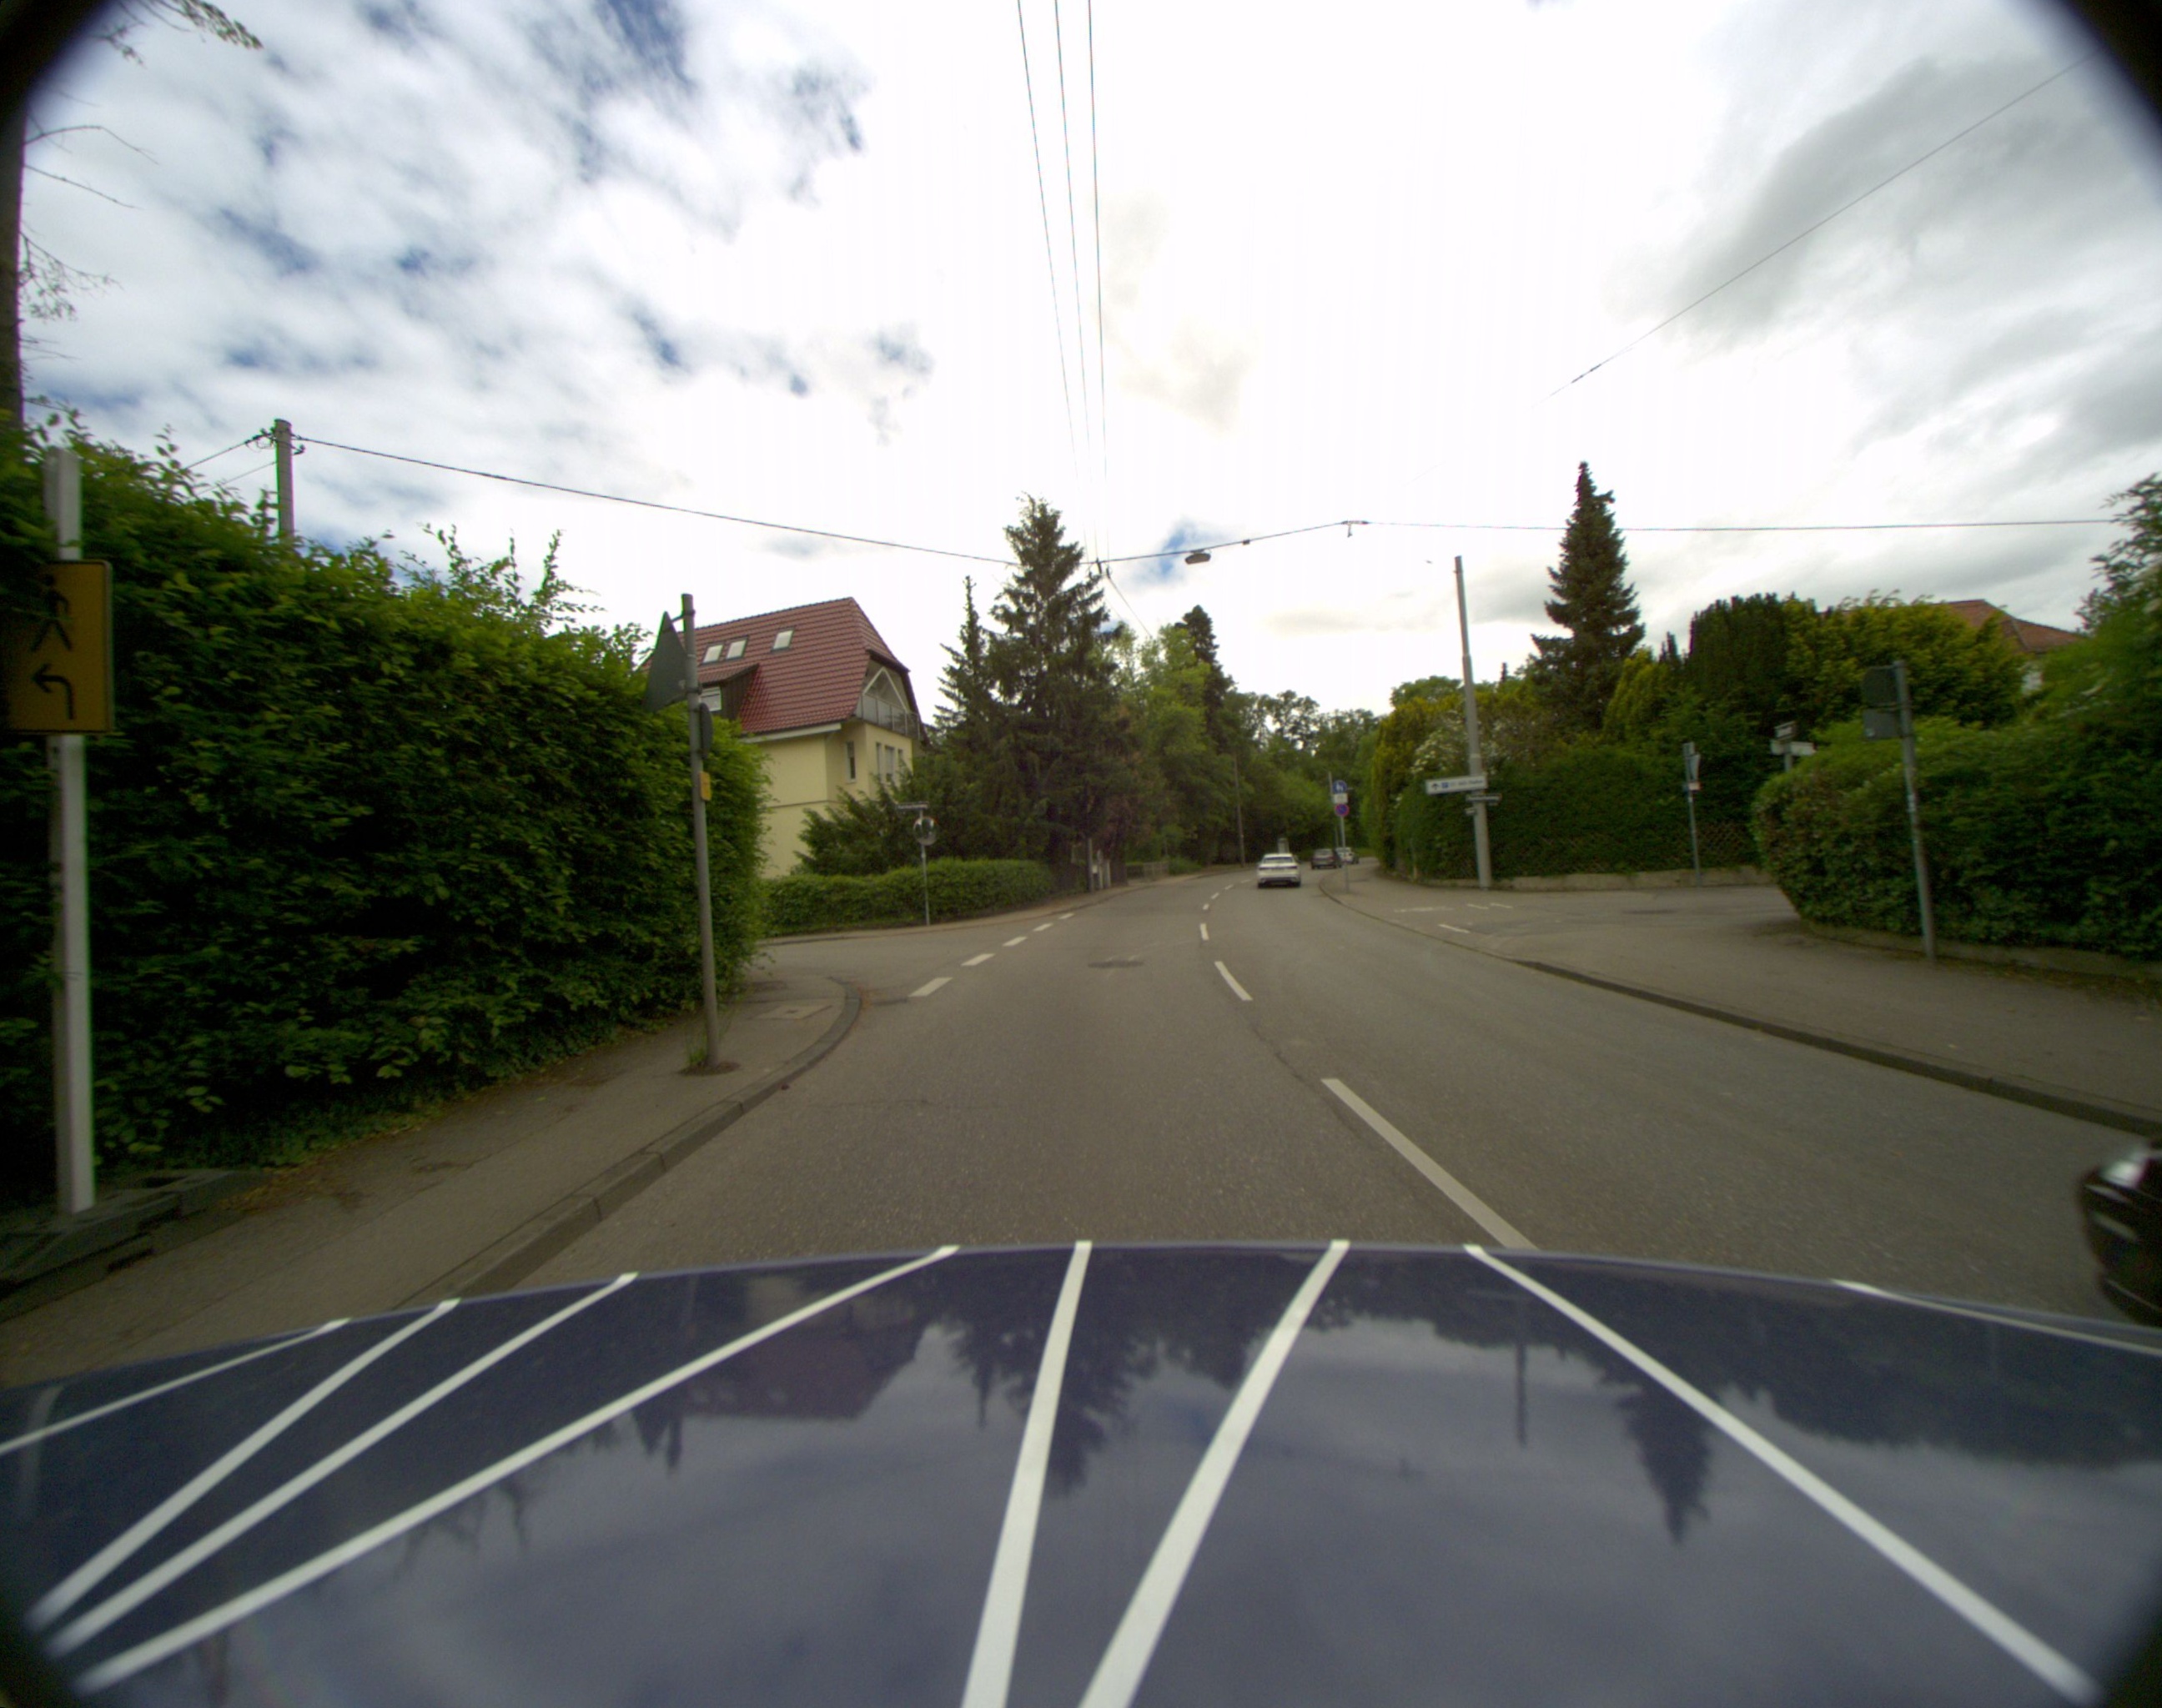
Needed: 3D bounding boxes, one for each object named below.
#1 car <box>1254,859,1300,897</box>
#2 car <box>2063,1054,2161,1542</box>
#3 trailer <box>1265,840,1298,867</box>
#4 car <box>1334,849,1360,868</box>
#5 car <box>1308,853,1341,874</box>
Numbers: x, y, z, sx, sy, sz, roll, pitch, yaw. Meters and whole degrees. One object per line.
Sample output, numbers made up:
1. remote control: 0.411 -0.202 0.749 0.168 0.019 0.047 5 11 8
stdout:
1. car: 8.623 0.995 33.318 1.810 1.434 4.203 -2 1 16
2. car: 3.540 1.121 0.194 1.695 1.170 3.787 -1 0 0
3. trailer: 22.396 -0.069 84.735 3.119 2.882 1.596 -3 0 30
4. car: 22.655 0.351 64.816 1.904 1.446 3.800 -2 1 18
5. car: 17.478 0.640 54.689 1.916 1.390 3.913 -2 0 14
